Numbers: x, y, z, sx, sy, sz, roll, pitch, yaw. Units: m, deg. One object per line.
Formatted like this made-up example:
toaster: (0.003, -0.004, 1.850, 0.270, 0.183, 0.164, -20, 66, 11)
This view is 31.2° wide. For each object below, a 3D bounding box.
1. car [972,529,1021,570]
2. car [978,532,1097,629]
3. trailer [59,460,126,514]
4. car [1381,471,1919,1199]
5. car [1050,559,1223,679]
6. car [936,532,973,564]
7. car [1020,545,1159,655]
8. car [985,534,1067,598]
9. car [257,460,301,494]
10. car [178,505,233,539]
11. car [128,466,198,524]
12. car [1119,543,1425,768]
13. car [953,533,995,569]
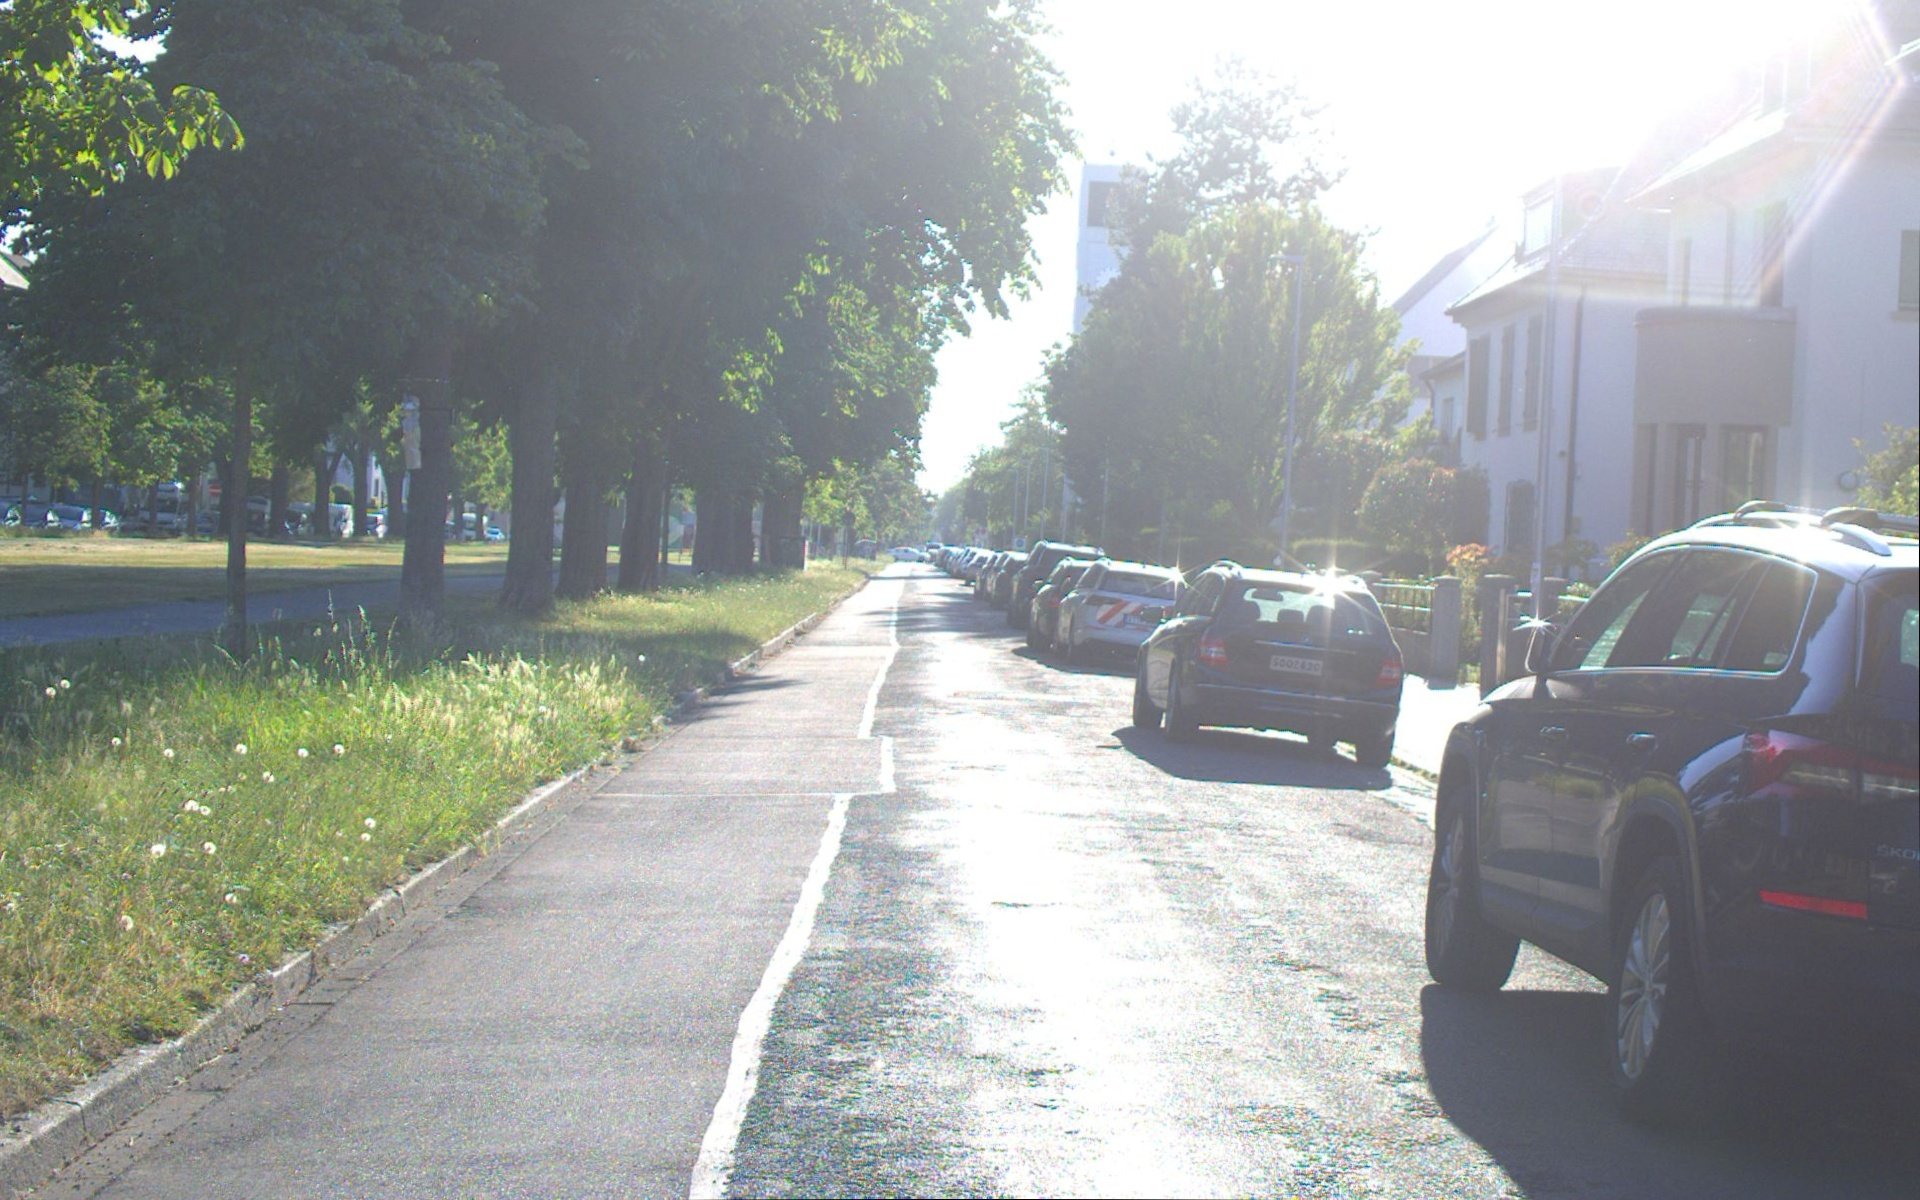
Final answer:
car: (1.478, -2.070, 140.873, 1.757, 1.415, 4.072, 9, 1, 0)
car: (1.497, -0.420, 68.217, 1.993, 1.731, 4.864, 3, 1, -2)
trailer: (-42.058, -5.465, 166.796, 1.993, 2.419, 4.724, 3, 1, 0)
car: (2.657, 0.628, 10.274, 1.858, 1.714, 4.468, 8, 1, -2)
car: (2.421, 0.228, 48.156, 1.993, 1.459, 4.550, 3, 1, -2)
car: (-0.293, -2.790, 184.548, 1.758, 1.599, 4.359, 3, 1, -2)
car: (1.992, -0.037, 54.088, 1.780, 1.458, 4.594, 6, 1, -1)
car: (1.661, -0.875, 87.886, 1.793, 1.487, 4.675, 4, 1, -1)
car: (-43.730, -7.879, 220.765, 1.993, 2.007, 4.485, 1, 0, -1)
car: (-36.697, -3.791, 167.311, 1.685, 1.554, 4.314, 3, 1, 0)
car: (-42.473, -5.572, 183.345, 2.437, 2.912, 5.818, 1, 1, -1)
car: (2.441, 0.378, 27.955, 1.779, 1.494, 4.398, 6, 1, -2)
car: (0.669, -2.354, 163.870, 1.758, 1.599, 4.359, 3, 1, -2)
